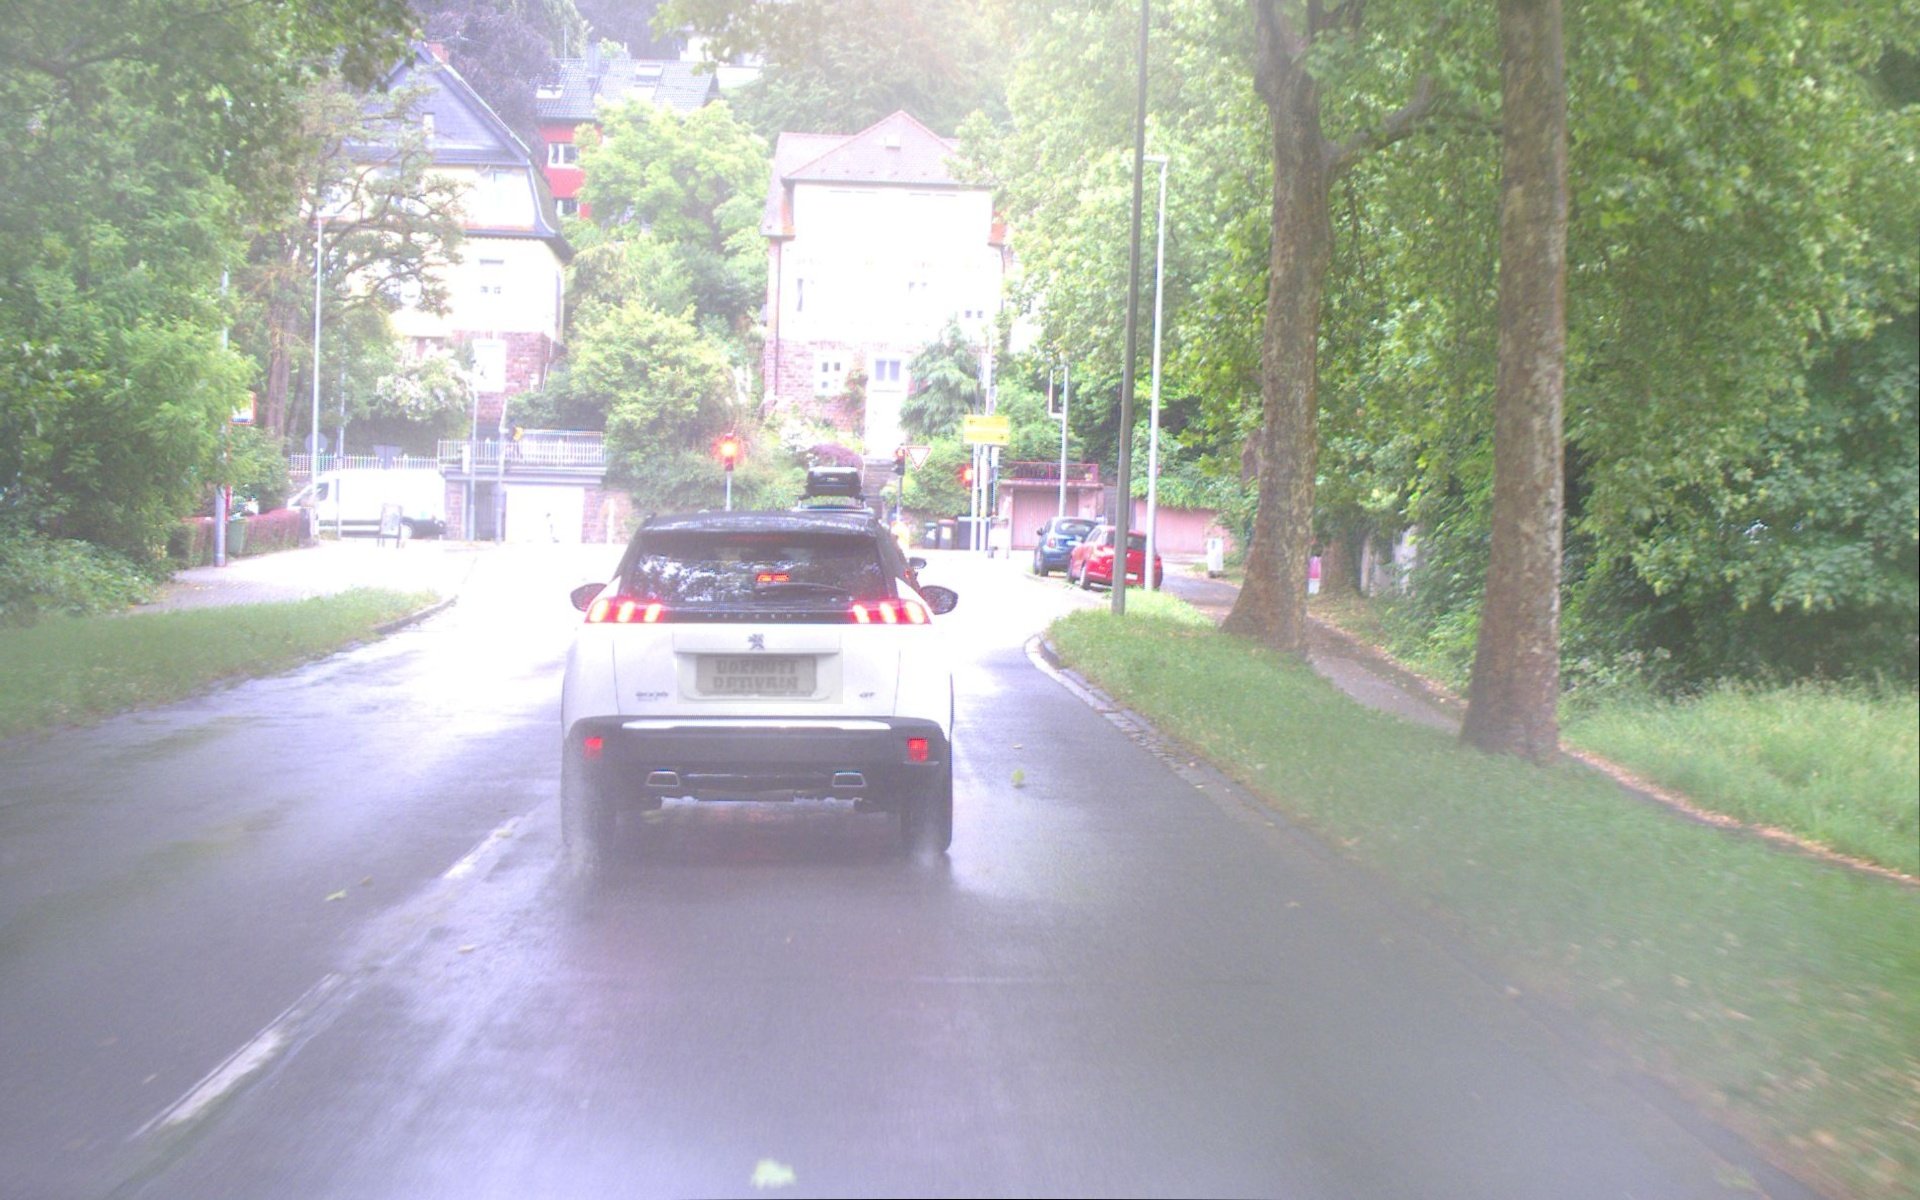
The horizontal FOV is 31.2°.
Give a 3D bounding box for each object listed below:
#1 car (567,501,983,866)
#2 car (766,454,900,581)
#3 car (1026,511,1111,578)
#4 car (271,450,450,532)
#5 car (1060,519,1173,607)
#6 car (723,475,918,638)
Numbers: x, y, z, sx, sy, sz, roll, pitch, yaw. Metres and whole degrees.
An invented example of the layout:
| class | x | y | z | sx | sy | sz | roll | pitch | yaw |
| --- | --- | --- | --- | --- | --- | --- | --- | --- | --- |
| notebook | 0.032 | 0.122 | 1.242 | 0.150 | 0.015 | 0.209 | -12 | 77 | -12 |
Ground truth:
| class | x | y | z | sx | sy | sz | roll | pitch | yaw |
| --- | --- | --- | --- | --- | --- | --- | --- | --- | --- |
| car | -0.879 | 0.297 | 16.860 | 1.752 | 1.530 | 4.368 | 1 | 2 | -2 |
| car | -1.931 | -1.263 | 51.041 | 1.760 | 1.705 | 4.602 | 3 | 2 | -4 |
| car | 2.680 | -1.398 | 85.824 | 1.749 | 1.486 | 3.600 | 4 | 1 | -2 |
| car | -20.508 | -3.721 | 117.804 | 5.660 | 2.485 | 2.316 | 3 | 0 | -1 |
| car | 3.446 | -0.834 | 76.272 | 1.819 | 1.512 | 3.744 | 9 | 3 | -5 |
| car | -1.453 | -0.514 | 36.468 | 1.831 | 1.451 | 4.659 | 4 | 2 | -2 |
